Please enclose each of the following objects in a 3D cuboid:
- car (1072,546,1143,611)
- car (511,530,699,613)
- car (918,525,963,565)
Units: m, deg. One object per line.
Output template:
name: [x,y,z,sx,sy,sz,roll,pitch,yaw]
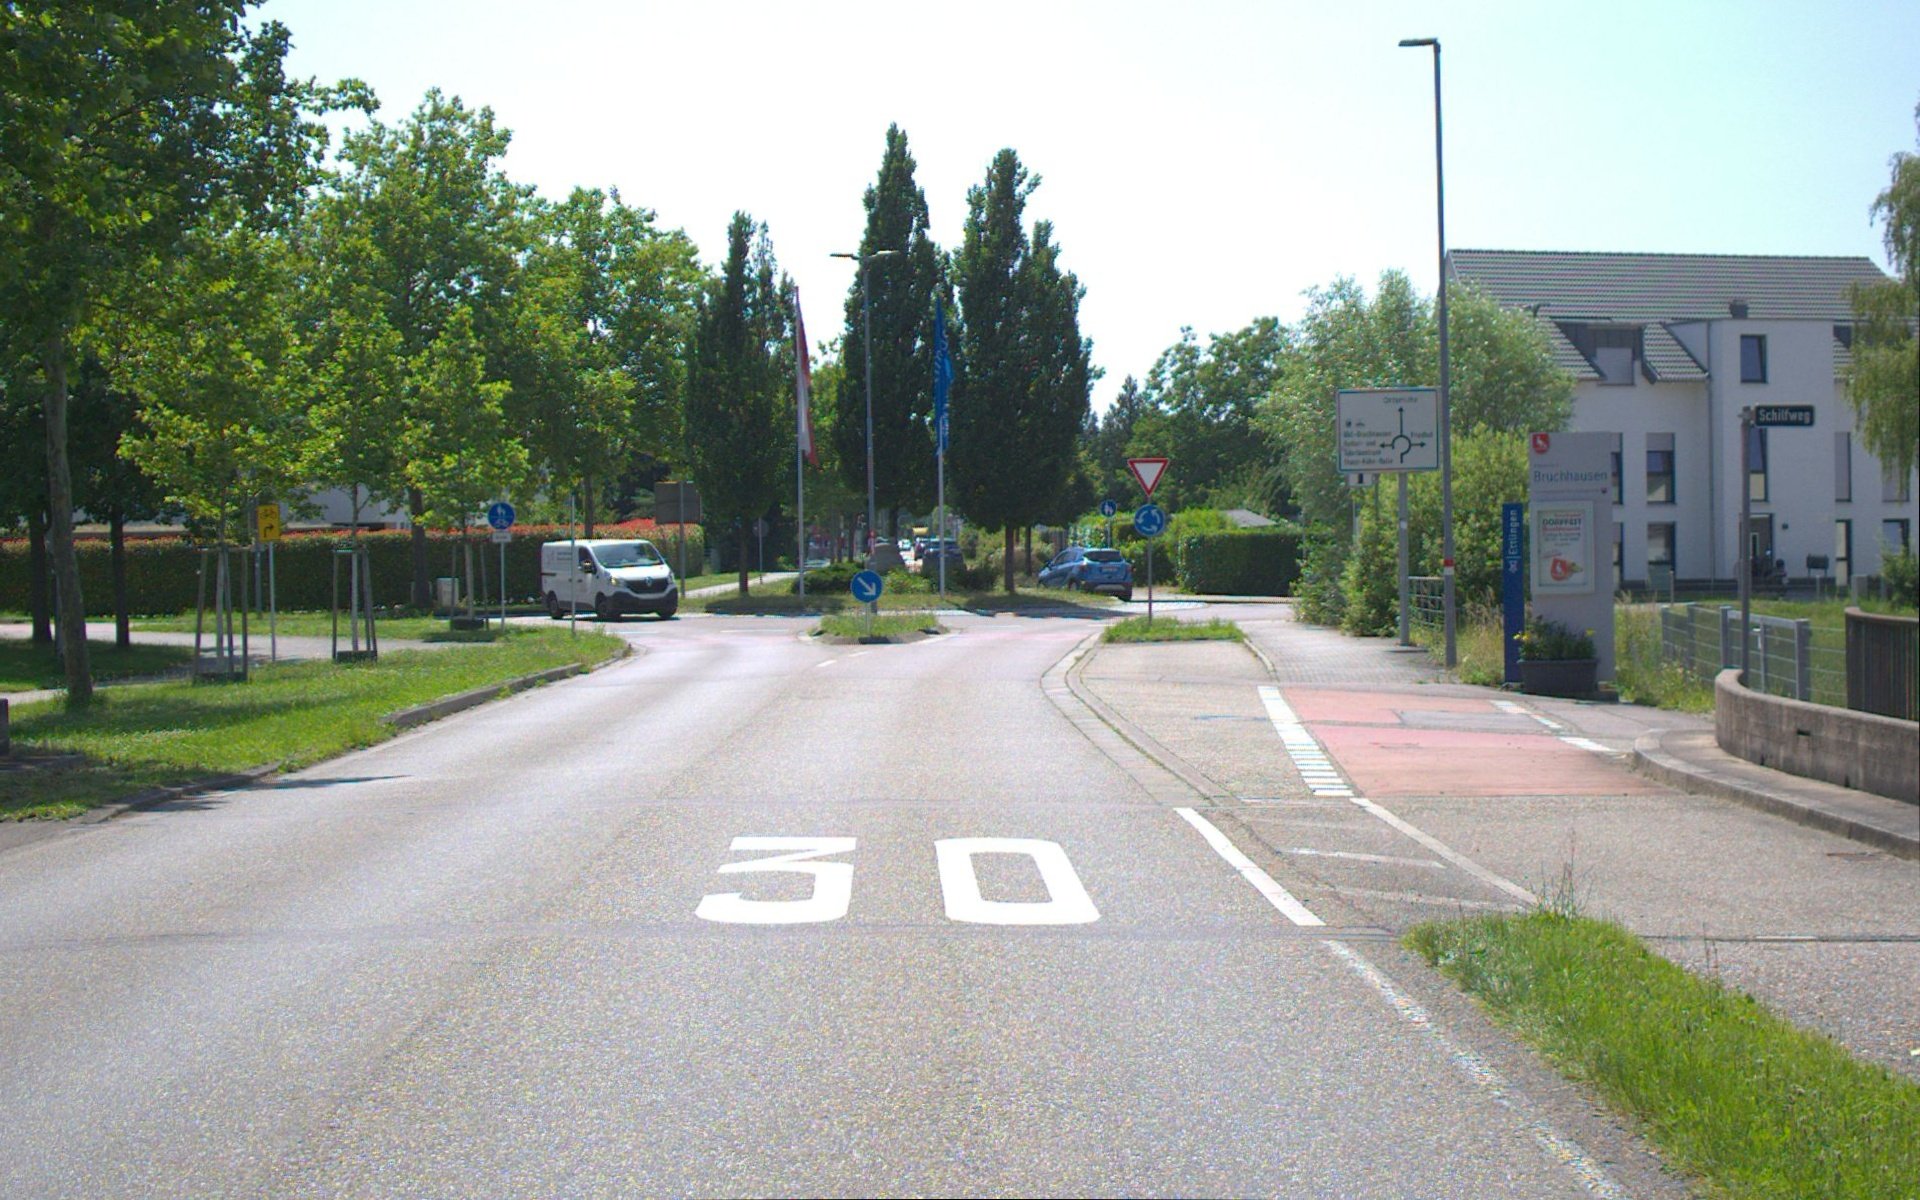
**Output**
car: [4.358,-0.645,102.041,1.923,1.879,4.000,1,0,0]
car: [-8.870,-0.731,85.634,2.128,2.007,5.147,0,1,-40]
car: [-0.900,-2.516,156.840,1.993,1.764,4.000,1,0,0]
